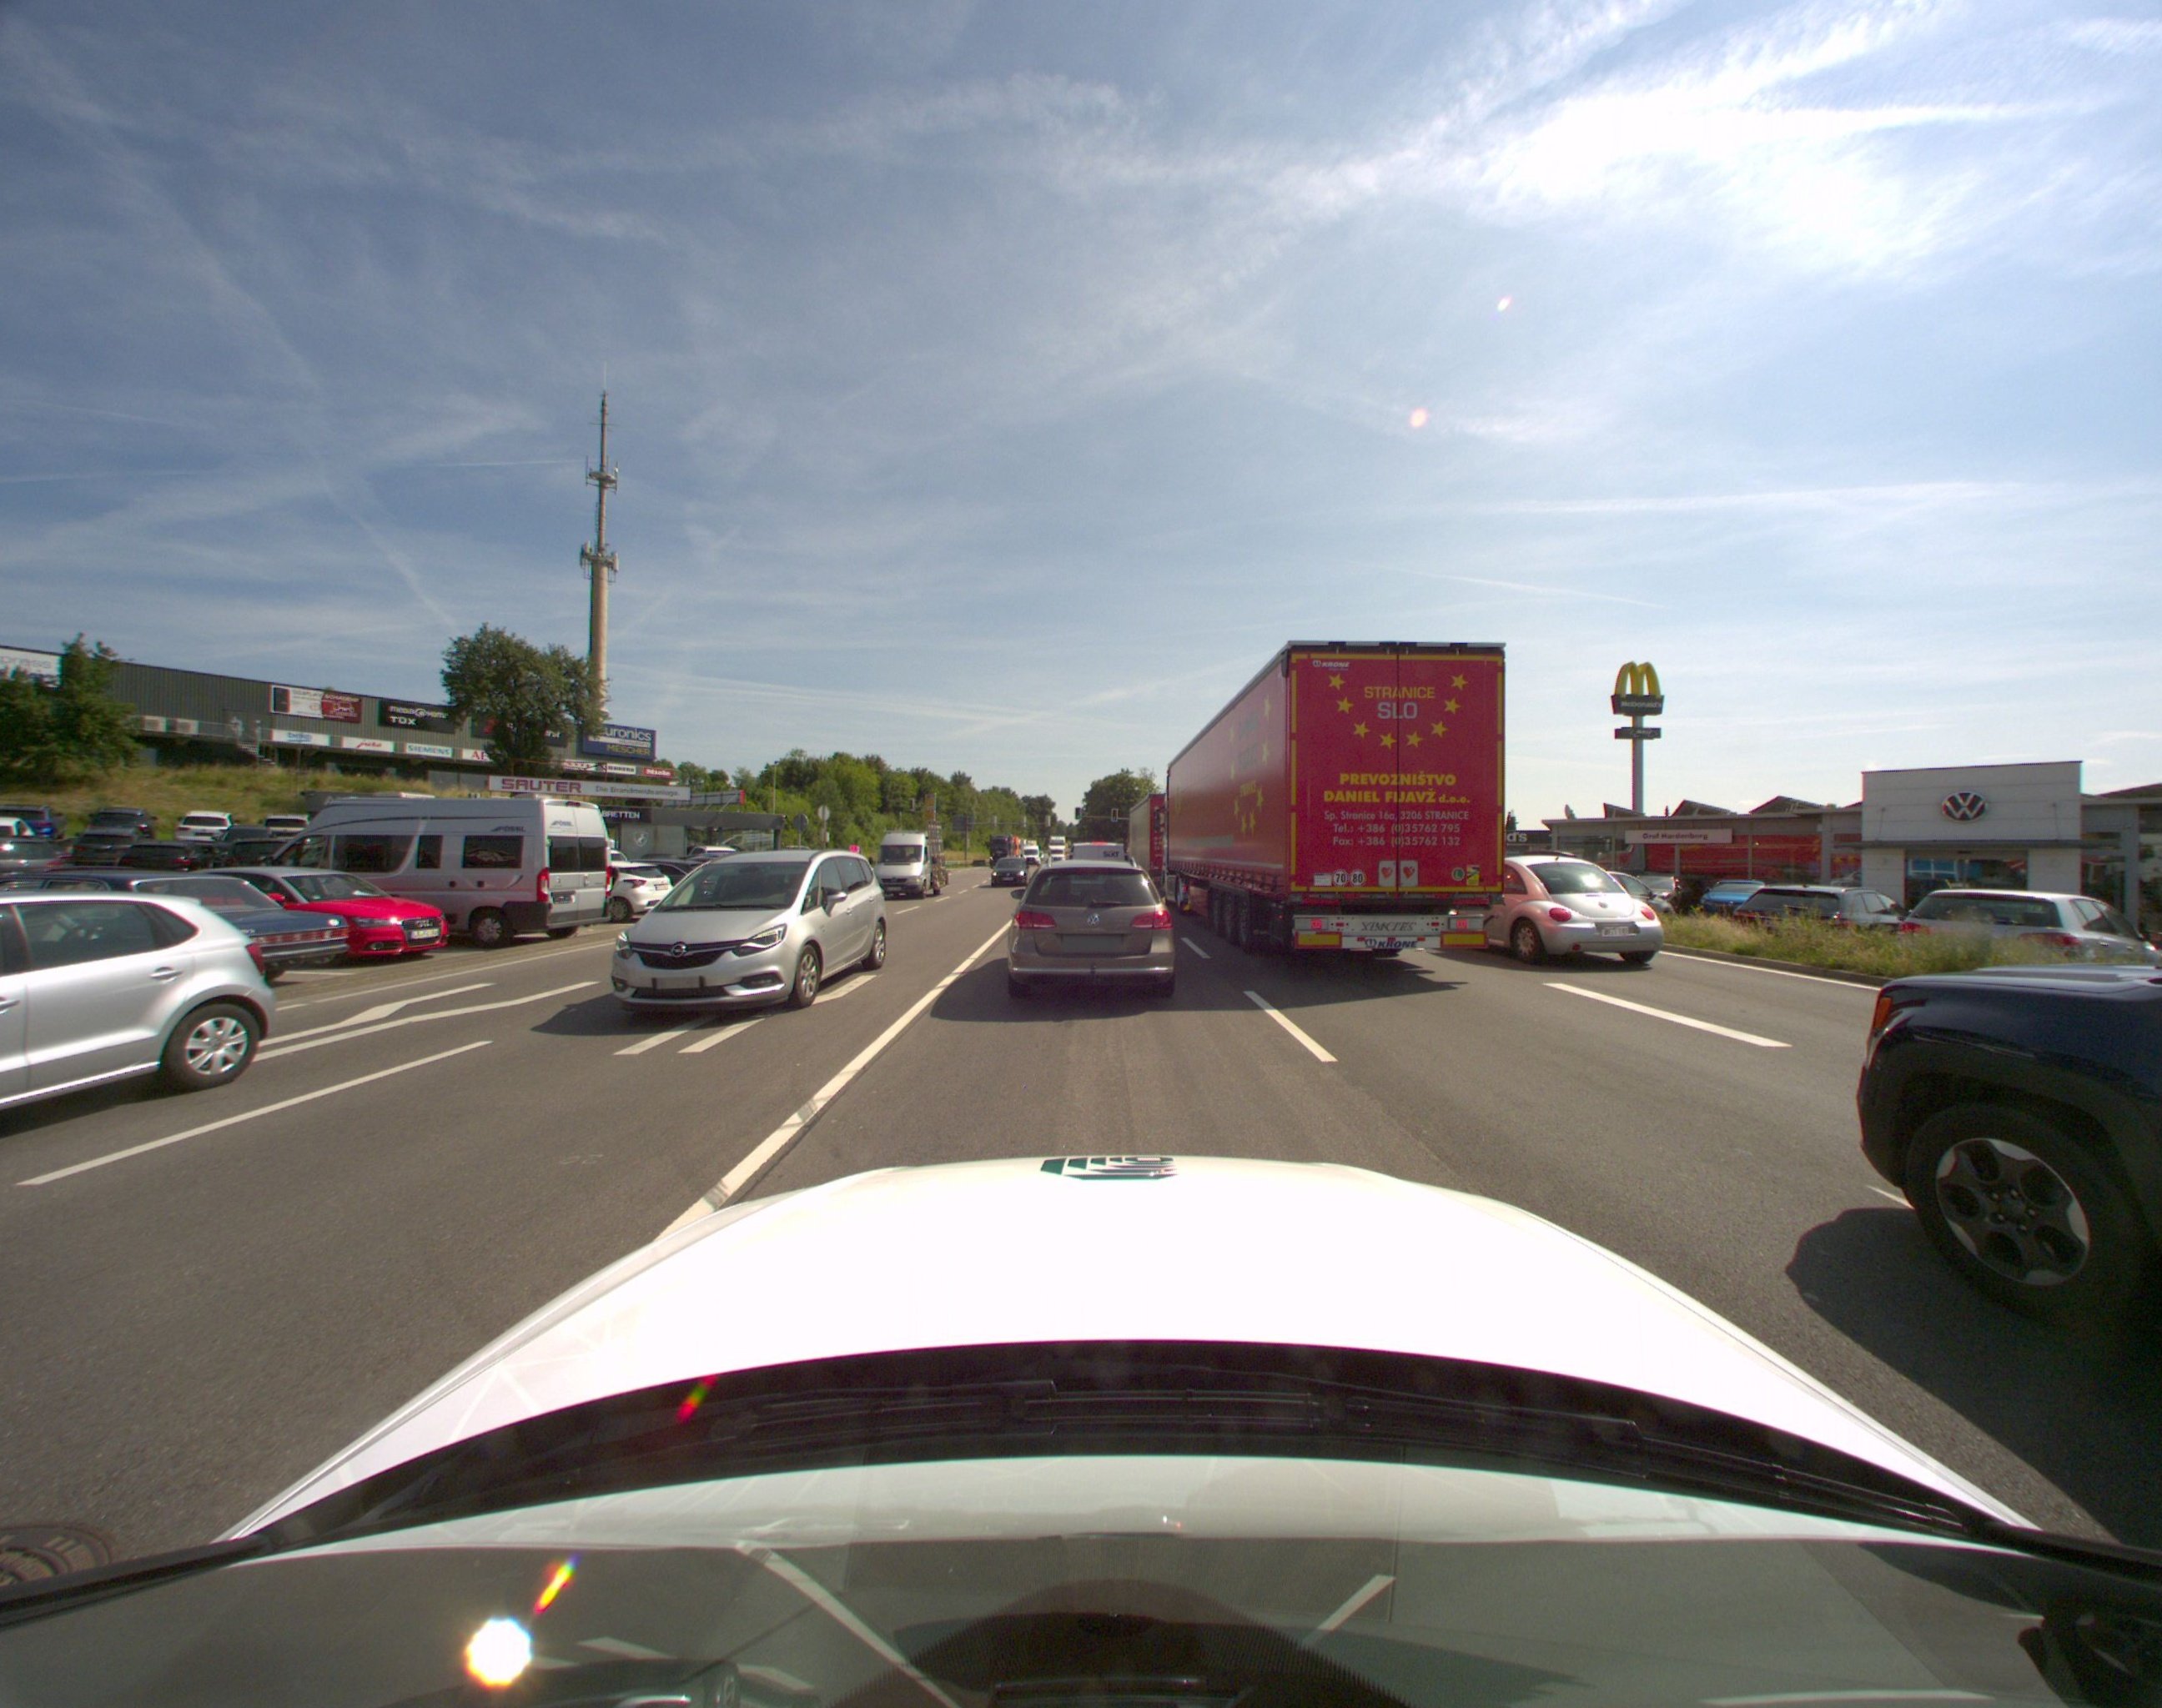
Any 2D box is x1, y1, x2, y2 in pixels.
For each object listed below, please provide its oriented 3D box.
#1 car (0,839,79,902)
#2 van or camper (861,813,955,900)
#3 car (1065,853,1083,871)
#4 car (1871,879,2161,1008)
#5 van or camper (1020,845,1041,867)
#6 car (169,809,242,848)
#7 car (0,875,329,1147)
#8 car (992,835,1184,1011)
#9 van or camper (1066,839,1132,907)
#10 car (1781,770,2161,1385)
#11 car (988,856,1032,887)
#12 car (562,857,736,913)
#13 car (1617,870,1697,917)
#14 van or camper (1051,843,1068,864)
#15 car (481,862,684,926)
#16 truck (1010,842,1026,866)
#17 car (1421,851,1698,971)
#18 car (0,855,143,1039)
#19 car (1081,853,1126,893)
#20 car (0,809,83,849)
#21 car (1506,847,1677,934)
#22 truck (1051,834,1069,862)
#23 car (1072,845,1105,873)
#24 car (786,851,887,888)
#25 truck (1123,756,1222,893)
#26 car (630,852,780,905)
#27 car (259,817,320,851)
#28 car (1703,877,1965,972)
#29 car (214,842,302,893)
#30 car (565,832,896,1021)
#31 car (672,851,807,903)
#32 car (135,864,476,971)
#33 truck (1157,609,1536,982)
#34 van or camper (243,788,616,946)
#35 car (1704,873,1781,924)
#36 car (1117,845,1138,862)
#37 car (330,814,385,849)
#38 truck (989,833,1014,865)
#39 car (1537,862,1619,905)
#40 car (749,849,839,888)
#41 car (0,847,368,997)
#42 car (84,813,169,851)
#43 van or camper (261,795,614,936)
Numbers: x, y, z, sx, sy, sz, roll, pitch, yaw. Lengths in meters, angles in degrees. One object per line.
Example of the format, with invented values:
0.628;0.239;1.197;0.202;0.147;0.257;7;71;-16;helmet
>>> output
-28.995;0.431;21.299;3.795;1.588;1.773;-1;0;8;car
-6.546;0.083;31.641;2.199;3.056;5.904;1;0;1;van or camper
-0.792;0.834;89.049;1.719;1.909;3.315;0;-1;4;car
12.747;1.079;10.954;3.850;1.399;1.690;0;0;-23;car
-5.921;0.242;95.307;2.166;2.551;4.170;0;0;0;van or camper
-38.693;-1.081;36.085;1.745;1.537;3.705;1;-1;-40;car
-6.880;0.898;4.359;1.830;1.448;4.082;-1;0;2;car
0.175;0.656;9.413;1.782;1.638;3.507;-1;0;4;car
0.496;0.533;24.690;1.846;1.906;3.784;0;0;0;van or camper
3.835;0.599;1.444;1.812;1.685;4.001;-1;0;1;car
-3.501;0.839;40.826;1.660;1.409;3.928;-2;0;2;car
-11.911;0.836;22.623;3.805;1.448;1.842;-1;0;-1;car
21.357;1.396;30.129;1.781;1.531;4.252;0;0;44;car
-3.011;-0.033;115.795;2.217;2.841;5.710;0;-1;0;van or camper
-12.155;0.947;20.041;3.805;1.448;1.842;-1;0;-1;car
-10.780;-0.012;139.691;2.528;3.786;6.981;-2;0;-3;truck
6.831;0.711;12.193;1.655;1.472;3.996;-1;0;-3;car
-11.341;0.799;7.341;3.697;1.555;1.707;1;1;-1;car
0.912;0.764;33.131;1.721;1.519;3.313;0;-1;1;car
-42.108;-0.966;32.805;1.745;1.450;3.705;1;-1;-40;car
12.322;0.806;19.657;3.852;1.921;1.689;0;0;-25;car
-3.291;-0.909;130.554;2.544;4.307;7.595;-1;0;0;truck
0.471;0.287;46.532;1.720;1.519;3.314;0;-1;3;car
-11.766;0.733;39.121;4.470;1.693;2.145;-1;0;31;car
3.944;-1.147;39.676;3.052;5.220;17.006;0;0;0;truck
-11.677;0.743;25.475;3.805;1.539;1.842;-1;0;-1;car
-36.419;-0.887;37.536;1.745;1.450;3.705;1;-1;-40;car
12.882;1.123;13.967;3.844;1.399;1.692;0;0;-19;car
-27.235;0.427;26.921;3.780;1.588;1.780;-1;0;40;car
-3.673;0.666;9.513;1.902;1.663;4.182;-2;0;2;car
-11.588;0.769;27.813;3.805;1.675;1.842;-1;0;-1;car
-11.931;0.935;12.719;3.581;1.480;1.813;-1;0;1;car
3.817;-0.677;17.610;2.947;4.269;16.584;0;0;0;truck
-11.976;0.230;15.281;5.226;2.731;2.211;0;0;1;van or camper
23.006;1.476;28.293;3.808;1.557;1.681;0;0;-45;car
4.272;-0.058;75.350;1.721;1.519;3.311;1;-1;0;car
-32.426;-0.967;36.562;1.745;1.450;3.705;1;-1;-40;car
-9.930;-0.581;102.385;2.807;3.786;6.981;-2;0;-3;truck
19.833;1.120;32.454;1.975;1.531;4.024;0;0;44;car
-13.151;0.649;37.331;3.780;1.693;1.854;-1;0;29;car
-11.463;0.765;10.028;3.697;1.484;1.707;3;0;-2;car
-40.401;-0.879;34.547;1.745;1.450;3.705;1;-1;-40;car
-13.787;0.231;17.748;5.870;2.873;2.290;0;0;1;van or camper
